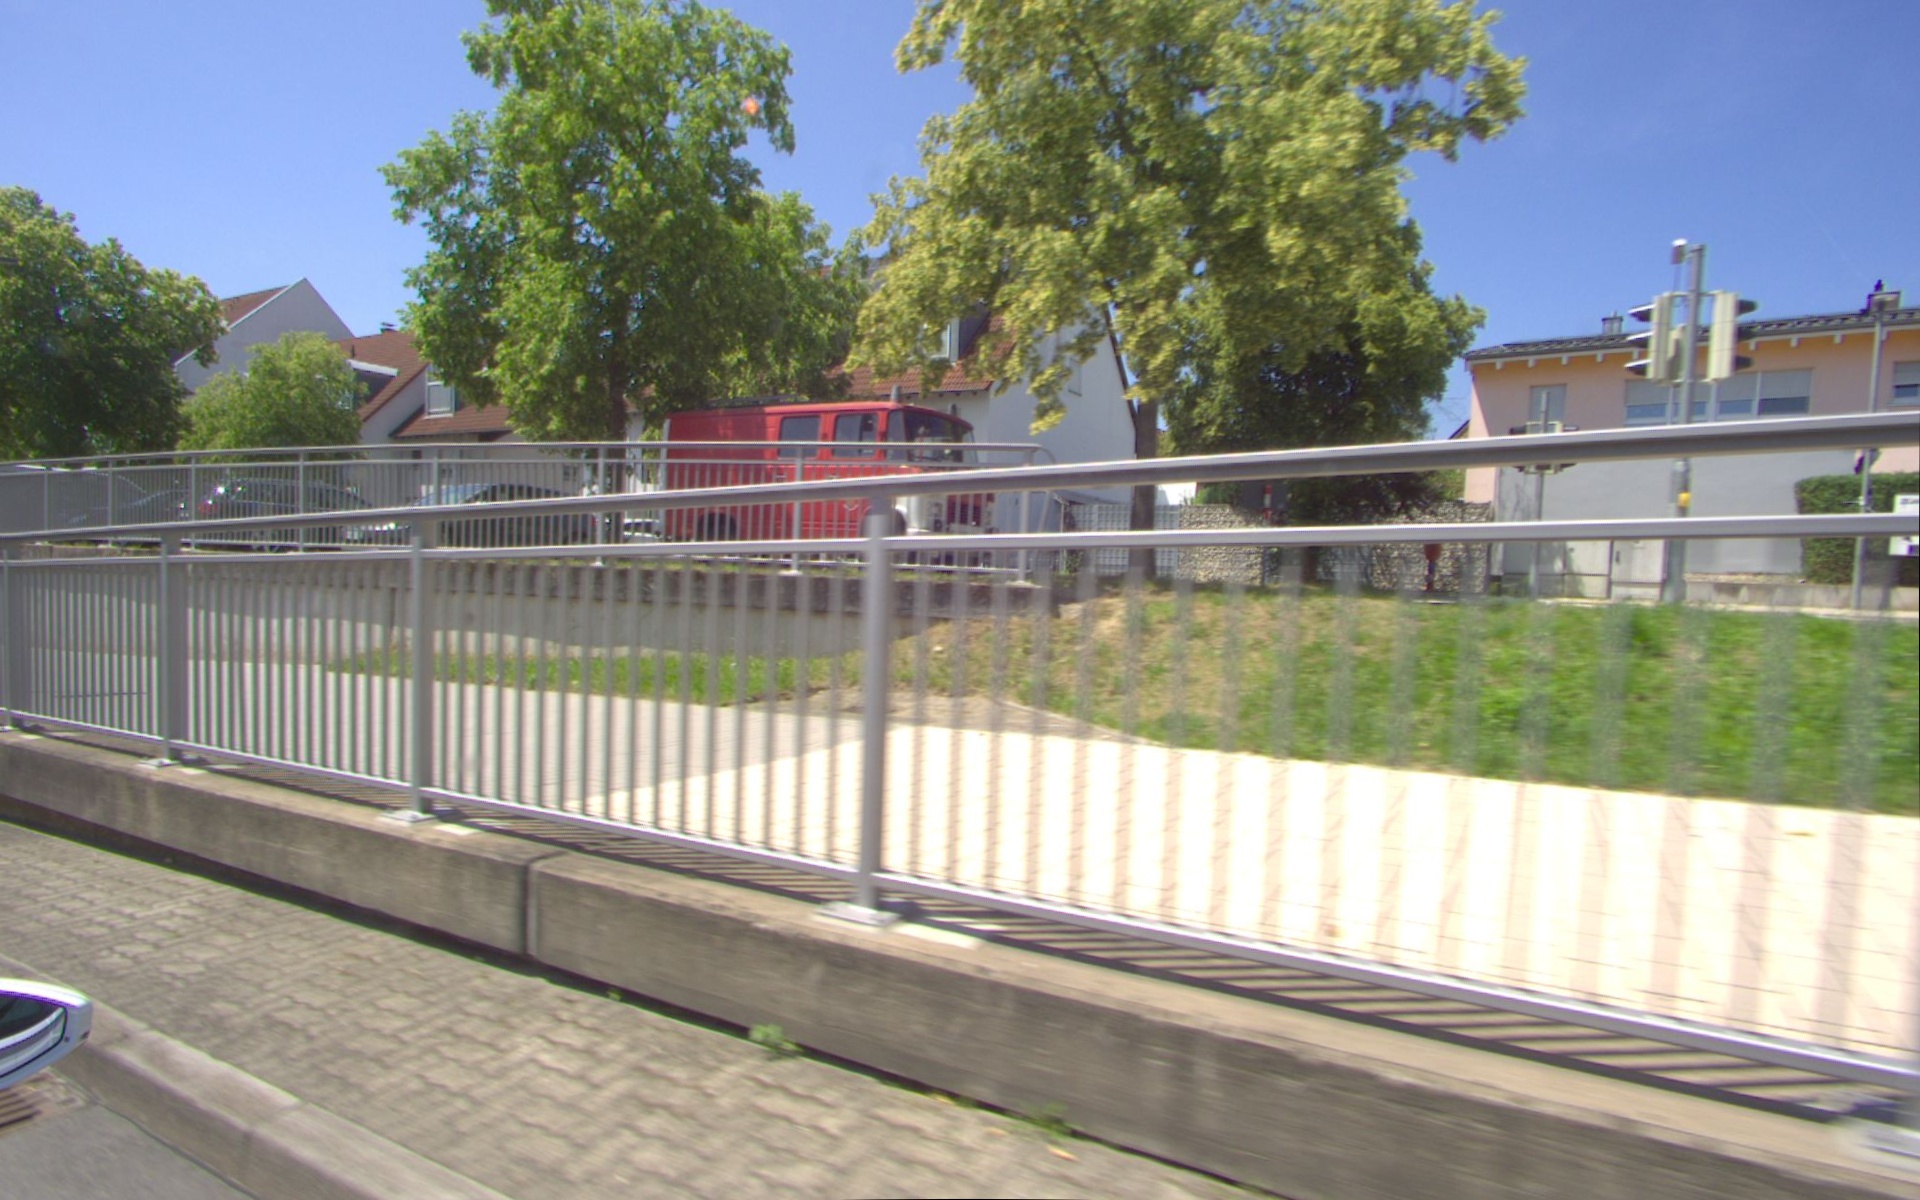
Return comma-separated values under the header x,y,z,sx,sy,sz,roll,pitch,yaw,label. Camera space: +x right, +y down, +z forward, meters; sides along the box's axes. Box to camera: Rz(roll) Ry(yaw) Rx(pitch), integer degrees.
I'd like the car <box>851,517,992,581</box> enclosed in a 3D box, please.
x,y,z,sx,sy,sz,roll,pitch,yaw,label
-0.908,-1.283,25.627,1.731,1.499,3.928,3,3,31,car

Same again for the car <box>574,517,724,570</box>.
x,y,z,sx,sy,sz,roll,pitch,yaw,label
-9.504,-1.722,30.984,1.731,1.511,4.395,3,3,31,car

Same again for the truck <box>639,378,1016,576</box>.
x,y,z,sx,sy,sz,roll,pitch,yaw,label
-2.015,-1.638,14.522,5.180,2.366,2.129,3,2,31,truck

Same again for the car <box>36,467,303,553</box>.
x,y,z,sx,sy,sz,roll,pitch,yaw,label
-17.151,-1.889,21.948,1.723,1.519,4.276,3,2,32,car

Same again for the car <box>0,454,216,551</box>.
x,y,z,sx,sy,sz,roll,pitch,yaw,label
-22.457,-2.425,25.672,1.959,2.092,5.101,3,2,32,car

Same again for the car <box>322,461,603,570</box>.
x,y,z,sx,sy,sz,roll,pitch,yaw,label
-8.316,-1.353,17.072,1.723,1.519,3.978,3,2,32,car

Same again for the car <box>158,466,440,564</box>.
x,y,z,sx,sy,sz,roll,pitch,yaw,label
-12.421,-1.530,19.087,1.661,1.519,4.196,3,2,32,car

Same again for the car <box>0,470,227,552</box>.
x,y,z,sx,sy,sz,roll,pitch,yaw,label
-20.270,-2.047,23.904,1.661,1.618,4.196,3,2,32,car
